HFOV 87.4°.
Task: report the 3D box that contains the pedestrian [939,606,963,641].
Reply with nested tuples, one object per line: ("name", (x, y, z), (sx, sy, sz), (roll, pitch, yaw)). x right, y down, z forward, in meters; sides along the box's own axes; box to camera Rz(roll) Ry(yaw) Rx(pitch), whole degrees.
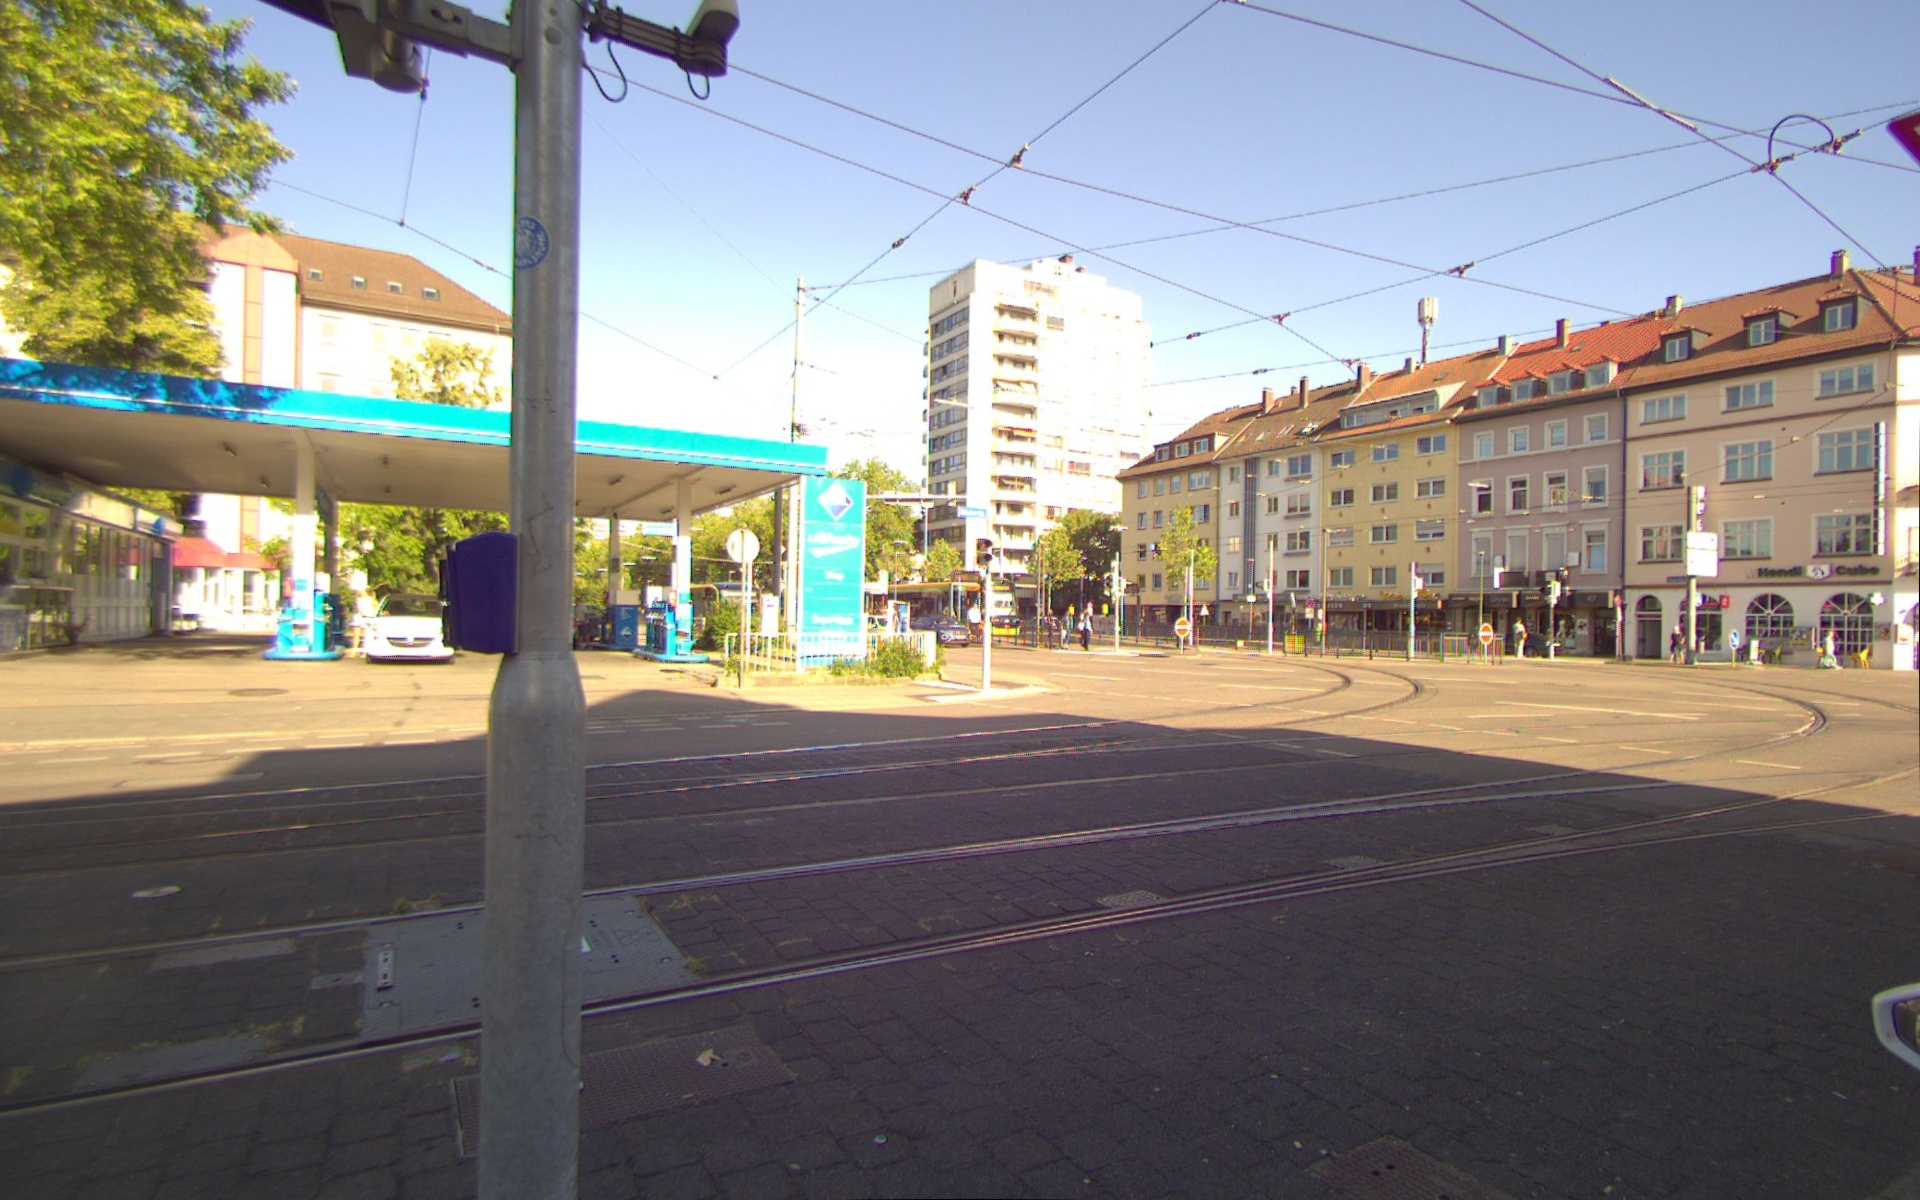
("pedestrian", (-0.477, 1.260, 53.811), (0.902, 1.826, 0.887), (1, -1, -33))

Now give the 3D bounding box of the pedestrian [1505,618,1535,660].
("pedestrian", (24.499, 1.697, 43.953), (0.801, 1.842, 0.871), (1, -1, -29))

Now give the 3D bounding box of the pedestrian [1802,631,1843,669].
("pedestrian", (38.292, 2.212, 44.591), (1.029, 1.612, 1.061), (1, -1, -28))

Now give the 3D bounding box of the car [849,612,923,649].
("car", (-3.503, 1.396, 46.806), (1.976, 1.615, 3.970), (1, -1, -29))

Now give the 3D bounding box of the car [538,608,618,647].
("car", (-17.201, 1.215, 45.383), (1.960, 1.685, 4.001), (1, -1, 2))

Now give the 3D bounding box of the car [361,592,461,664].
("car", (-12.270, 0.607, 22.434), (1.773, 1.461, 3.968), (2, -1, -30))

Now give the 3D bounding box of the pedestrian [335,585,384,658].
("pedestrian", (-13.899, 0.505, 23.236), (0.638, 1.652, 0.808), (0, -1, 43))

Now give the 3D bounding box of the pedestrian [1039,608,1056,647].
("pedestrian", (3.938, 1.219, 45.082), (0.491, 1.721, 0.553), (1, -1, -33))

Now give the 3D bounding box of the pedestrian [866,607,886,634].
("pedestrian", (-5.237, 1.267, 62.427), (0.902, 1.646, 0.887), (1, -1, -33))

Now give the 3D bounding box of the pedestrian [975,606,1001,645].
("pedestrian", (1.340, 1.230, 48.409), (0.902, 1.826, 0.887), (1, -1, -33))

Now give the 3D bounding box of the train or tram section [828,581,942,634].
("train or tram section", (-5.246, 0.525, 67.582), (3.252, 3.335, 10.157), (1, -1, -33))

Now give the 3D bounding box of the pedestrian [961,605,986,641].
("pedestrian", (0.692, 1.182, 51.153), (0.902, 1.826, 0.887), (1, -1, -33))

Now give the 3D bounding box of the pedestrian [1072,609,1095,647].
("pedestrian", (5.675, 1.300, 46.071), (0.773, 1.721, 0.692), (1, -1, -33))

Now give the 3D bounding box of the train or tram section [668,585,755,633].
("train or tram section", (-15.027, 0.456, 60.040), (2.233, 2.627, 10.398), (2, 0, -30))

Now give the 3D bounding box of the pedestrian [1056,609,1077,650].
("pedestrian", (4.597, 1.275, 43.452), (0.549, 1.721, 0.740), (1, -1, -33))

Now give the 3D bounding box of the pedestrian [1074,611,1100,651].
("pedestrian", (5.361, 1.313, 42.424), (0.791, 1.646, 0.706), (1, -1, -33))

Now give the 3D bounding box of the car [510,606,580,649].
("car", (-13.500, 0.866, 32.578), (1.752, 1.332, 3.520), (1, -1, -28))

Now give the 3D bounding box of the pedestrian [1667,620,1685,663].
("pedestrian", (34.214, 1.985, 48.018), (0.498, 2.040, 0.507), (1, -1, -27))

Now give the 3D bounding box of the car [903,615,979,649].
("car", (-0.955, 1.495, 48.348), (1.937, 1.475, 4.077), (1, 0, -30))

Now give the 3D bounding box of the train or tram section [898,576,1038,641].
("train or tram section", (0.234, 0.521, 58.963), (3.252, 3.459, 10.157), (1, -1, -33))

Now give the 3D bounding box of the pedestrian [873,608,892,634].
("pedestrian", (-4.892, 1.325, 63.247), (0.902, 1.646, 0.887), (1, -1, -33))

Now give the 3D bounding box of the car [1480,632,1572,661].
("car", (30.779, 2.499, 54.713), (1.980, 1.483, 3.962), (1, -1, -34))

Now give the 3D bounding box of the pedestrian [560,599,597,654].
("pedestrian", (-12.859, 0.884, 33.891), (0.894, 1.826, 0.895), (1, -1, -4))
